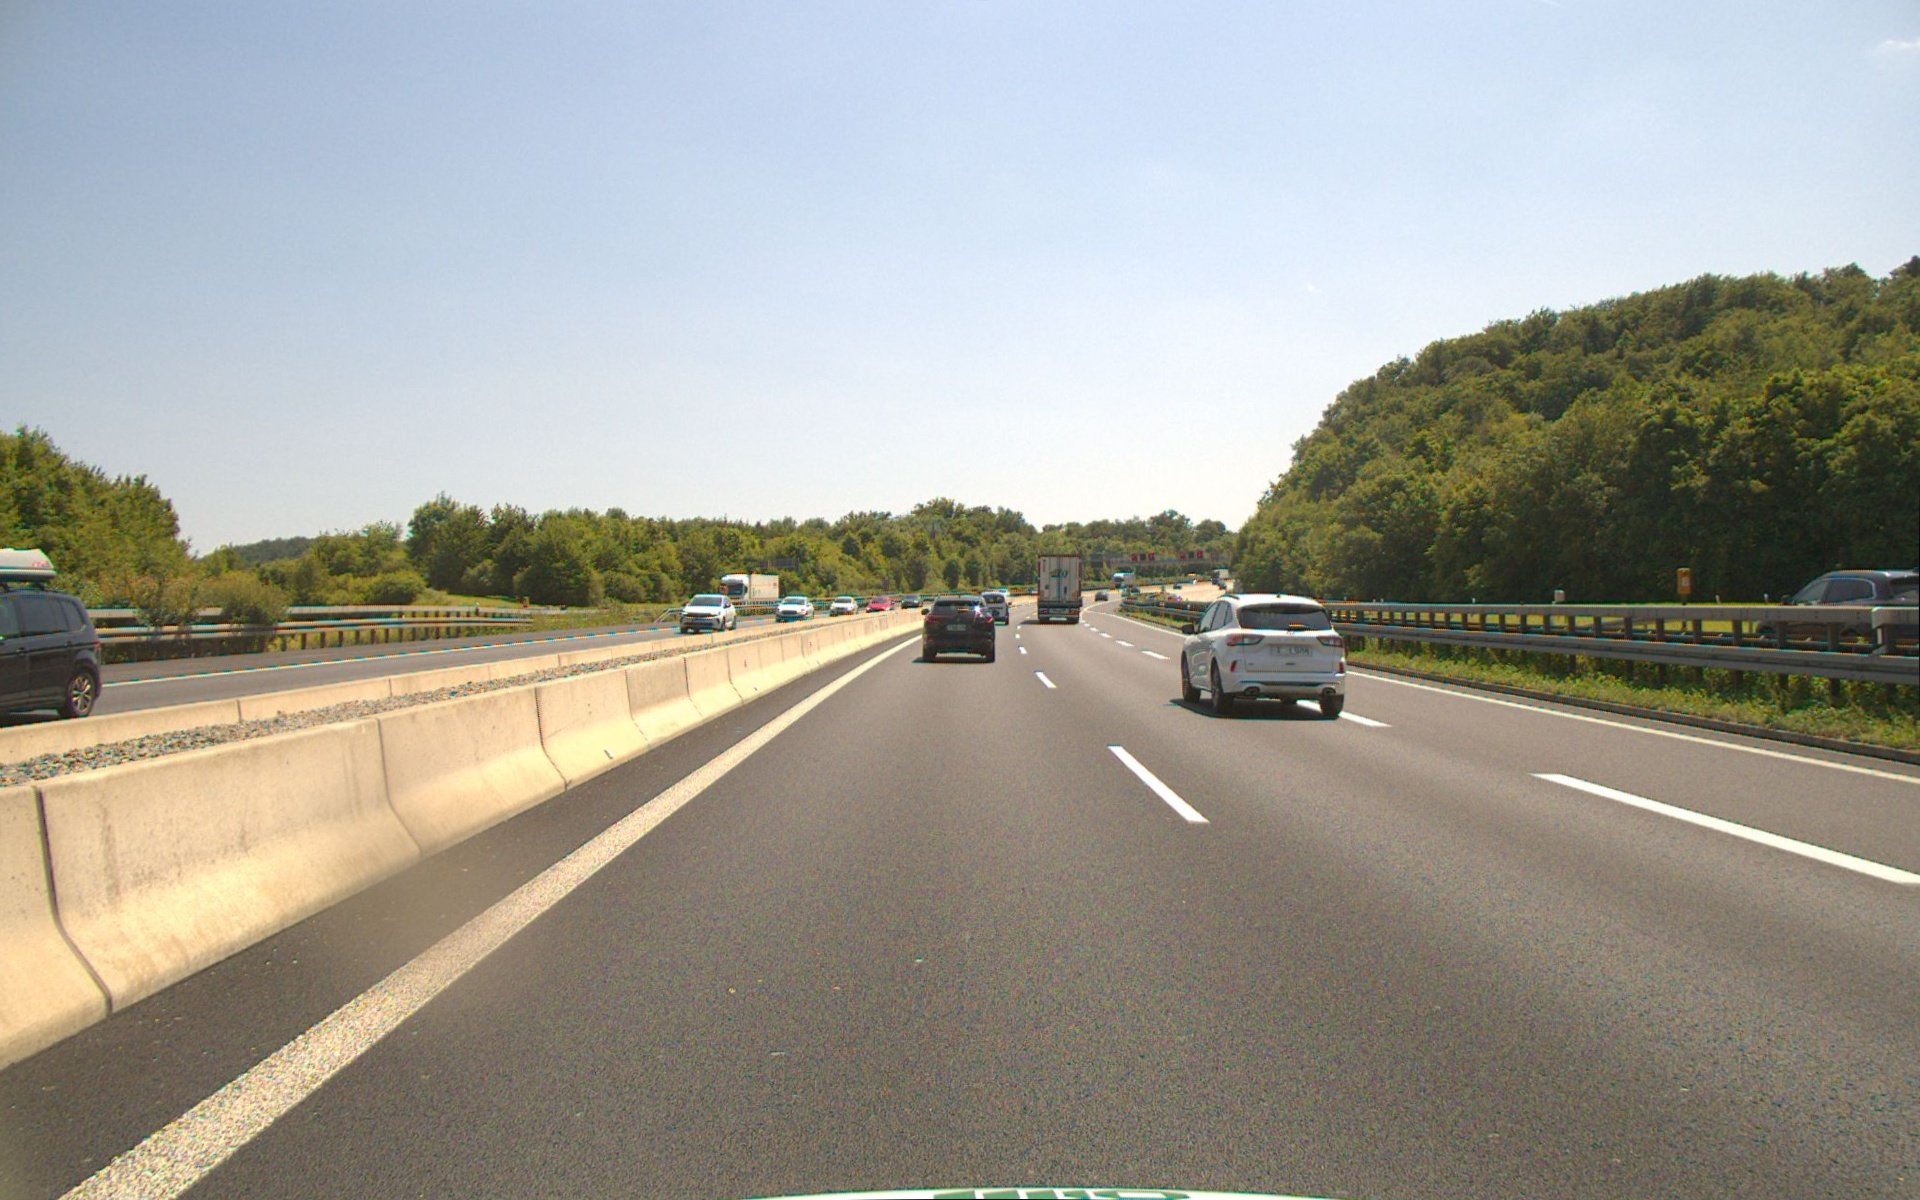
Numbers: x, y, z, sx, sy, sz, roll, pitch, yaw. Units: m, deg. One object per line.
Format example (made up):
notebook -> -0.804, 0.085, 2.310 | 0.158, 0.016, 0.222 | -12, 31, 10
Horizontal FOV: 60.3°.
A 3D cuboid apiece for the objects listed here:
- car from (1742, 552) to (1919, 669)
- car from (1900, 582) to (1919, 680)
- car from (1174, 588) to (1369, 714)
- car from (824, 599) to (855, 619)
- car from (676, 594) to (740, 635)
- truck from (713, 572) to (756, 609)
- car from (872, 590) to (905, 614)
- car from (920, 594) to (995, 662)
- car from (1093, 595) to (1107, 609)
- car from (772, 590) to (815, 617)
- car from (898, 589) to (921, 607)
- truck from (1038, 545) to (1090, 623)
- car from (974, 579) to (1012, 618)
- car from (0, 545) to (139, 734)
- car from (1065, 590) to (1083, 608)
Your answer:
car -> 14.624, 0.161, 25.755 | 1.954, 1.691, 5.622 | 0, 0, -3
car -> 17.767, 0.521, 26.642 | 1.955, 1.691, 5.222 | 0, 0, -5
car -> 4.479, 0.692, 24.480 | 1.953, 1.691, 4.466 | 0, 0, -1
car -> -9.012, 0.628, 123.728 | 1.812, 1.419, 4.001 | 1, 0, 2
car -> -10.677, 0.611, 70.433 | 1.829, 1.695, 4.665 | 0, 0, 2
truck -> -21.810, -0.870, 160.085 | 3.018, 3.565, 5.412 | 0, 0, 4
car -> -4.950, 0.150, 115.597 | 1.952, 1.688, 4.635 | 0, 0, 2
car -> -0.107, 0.678, 41.455 | 1.743, 1.605, 3.998 | 0, 0, -2
car -> 21.039, 0.259, 247.912 | 1.951, 2.049, 4.003 | 0, 0, 7
car -> -9.995, 0.210, 99.541 | 1.952, 1.570, 5.042 | 0, 0, 1
car -> -5.137, -0.167, 168.573 | 1.952, 1.856, 4.907 | 0, 0, 3
truck -> 6.290, -0.903, 101.896 | 2.969, 4.496, 12.022 | 0, 0, 2
car -> 1.911, -0.094, 93.484 | 1.952, 2.048, 4.001 | -3, 0, 3
car -> -11.774, 0.450, 19.440 | 1.953, 2.117, 4.703 | 0, 0, -1
car -> 13.099, -0.106, 190.611 | 1.952, 2.049, 4.001 | 0, 0, 3
